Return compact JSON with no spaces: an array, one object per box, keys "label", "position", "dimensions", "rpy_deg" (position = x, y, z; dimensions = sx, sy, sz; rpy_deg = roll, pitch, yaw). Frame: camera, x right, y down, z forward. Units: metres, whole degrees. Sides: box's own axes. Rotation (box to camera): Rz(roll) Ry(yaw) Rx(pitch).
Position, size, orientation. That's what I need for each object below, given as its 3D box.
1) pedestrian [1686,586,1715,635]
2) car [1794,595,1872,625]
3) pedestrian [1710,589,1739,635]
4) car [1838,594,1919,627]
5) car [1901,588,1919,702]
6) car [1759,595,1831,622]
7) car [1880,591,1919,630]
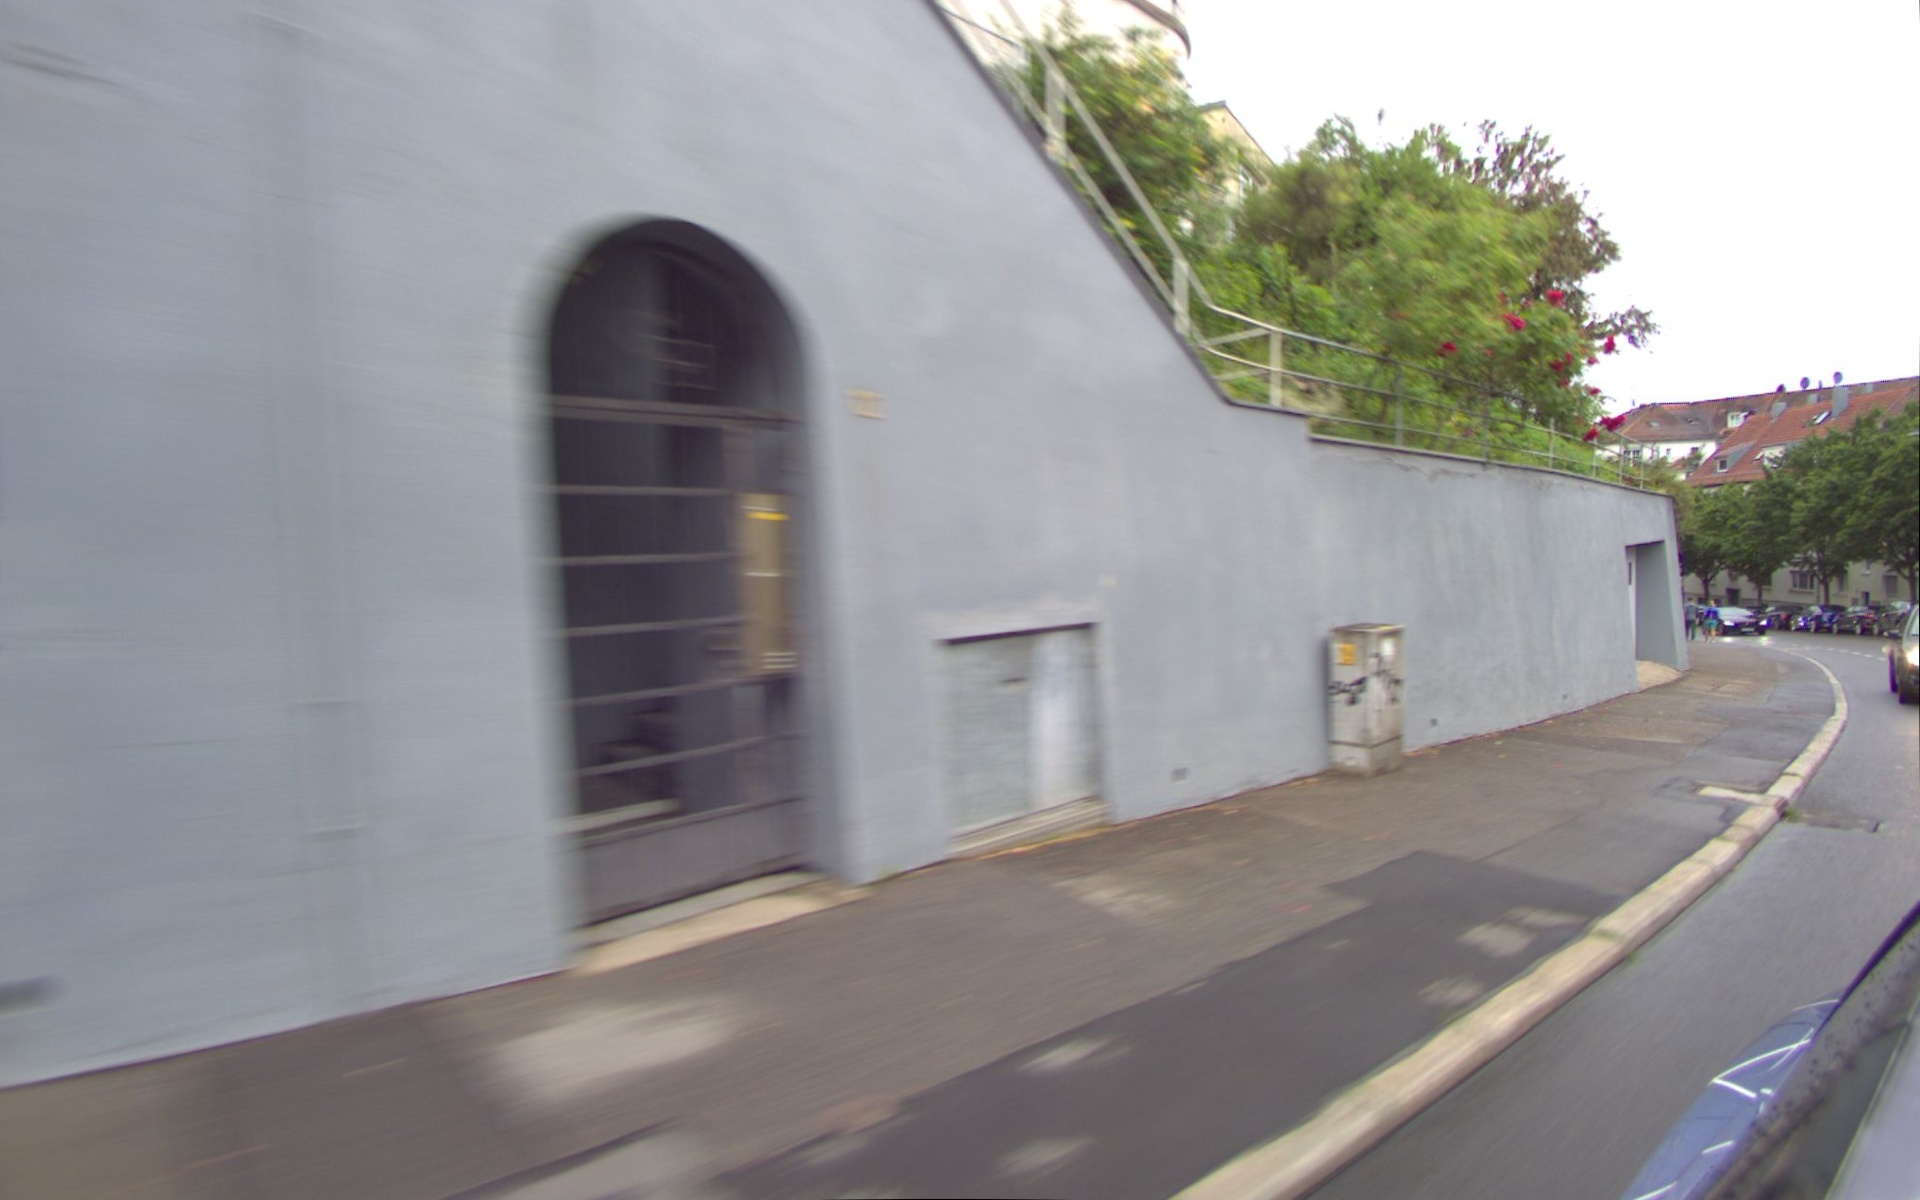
[{"label":"pedestrian","position":[29.449,0.416,40.252],"dimensions":[0.772,1.855,1.237],"rpy_deg":[2,0,31]},{"label":"car","position":[46.835,0.534,54.387],"dimensions":[1.773,1.512,4.822],"rpy_deg":[-1,-1,24]},{"label":"pedestrian","position":[30.083,0.457,39.817],"dimensions":[0.771,1.780,1.000],"rpy_deg":[2,1,31]},{"label":"car","position":[44.580,0.494,48.981],"dimensions":[1.771,1.512,4.329],"rpy_deg":[-1,-1,22]},{"label":"car","position":[15.383,0.571,15.205],"dimensions":[1.692,1.483,3.940],"rpy_deg":[-5,-1,43]},{"label":"car","position":[48.809,0.501,59.281],"dimensions":[1.770,1.512,4.334],"rpy_deg":[-1,-1,19]},{"label":"car","position":[42.069,0.416,44.095],"dimensions":[1.776,1.662,4.437],"rpy_deg":[-1,-1,27]}]
